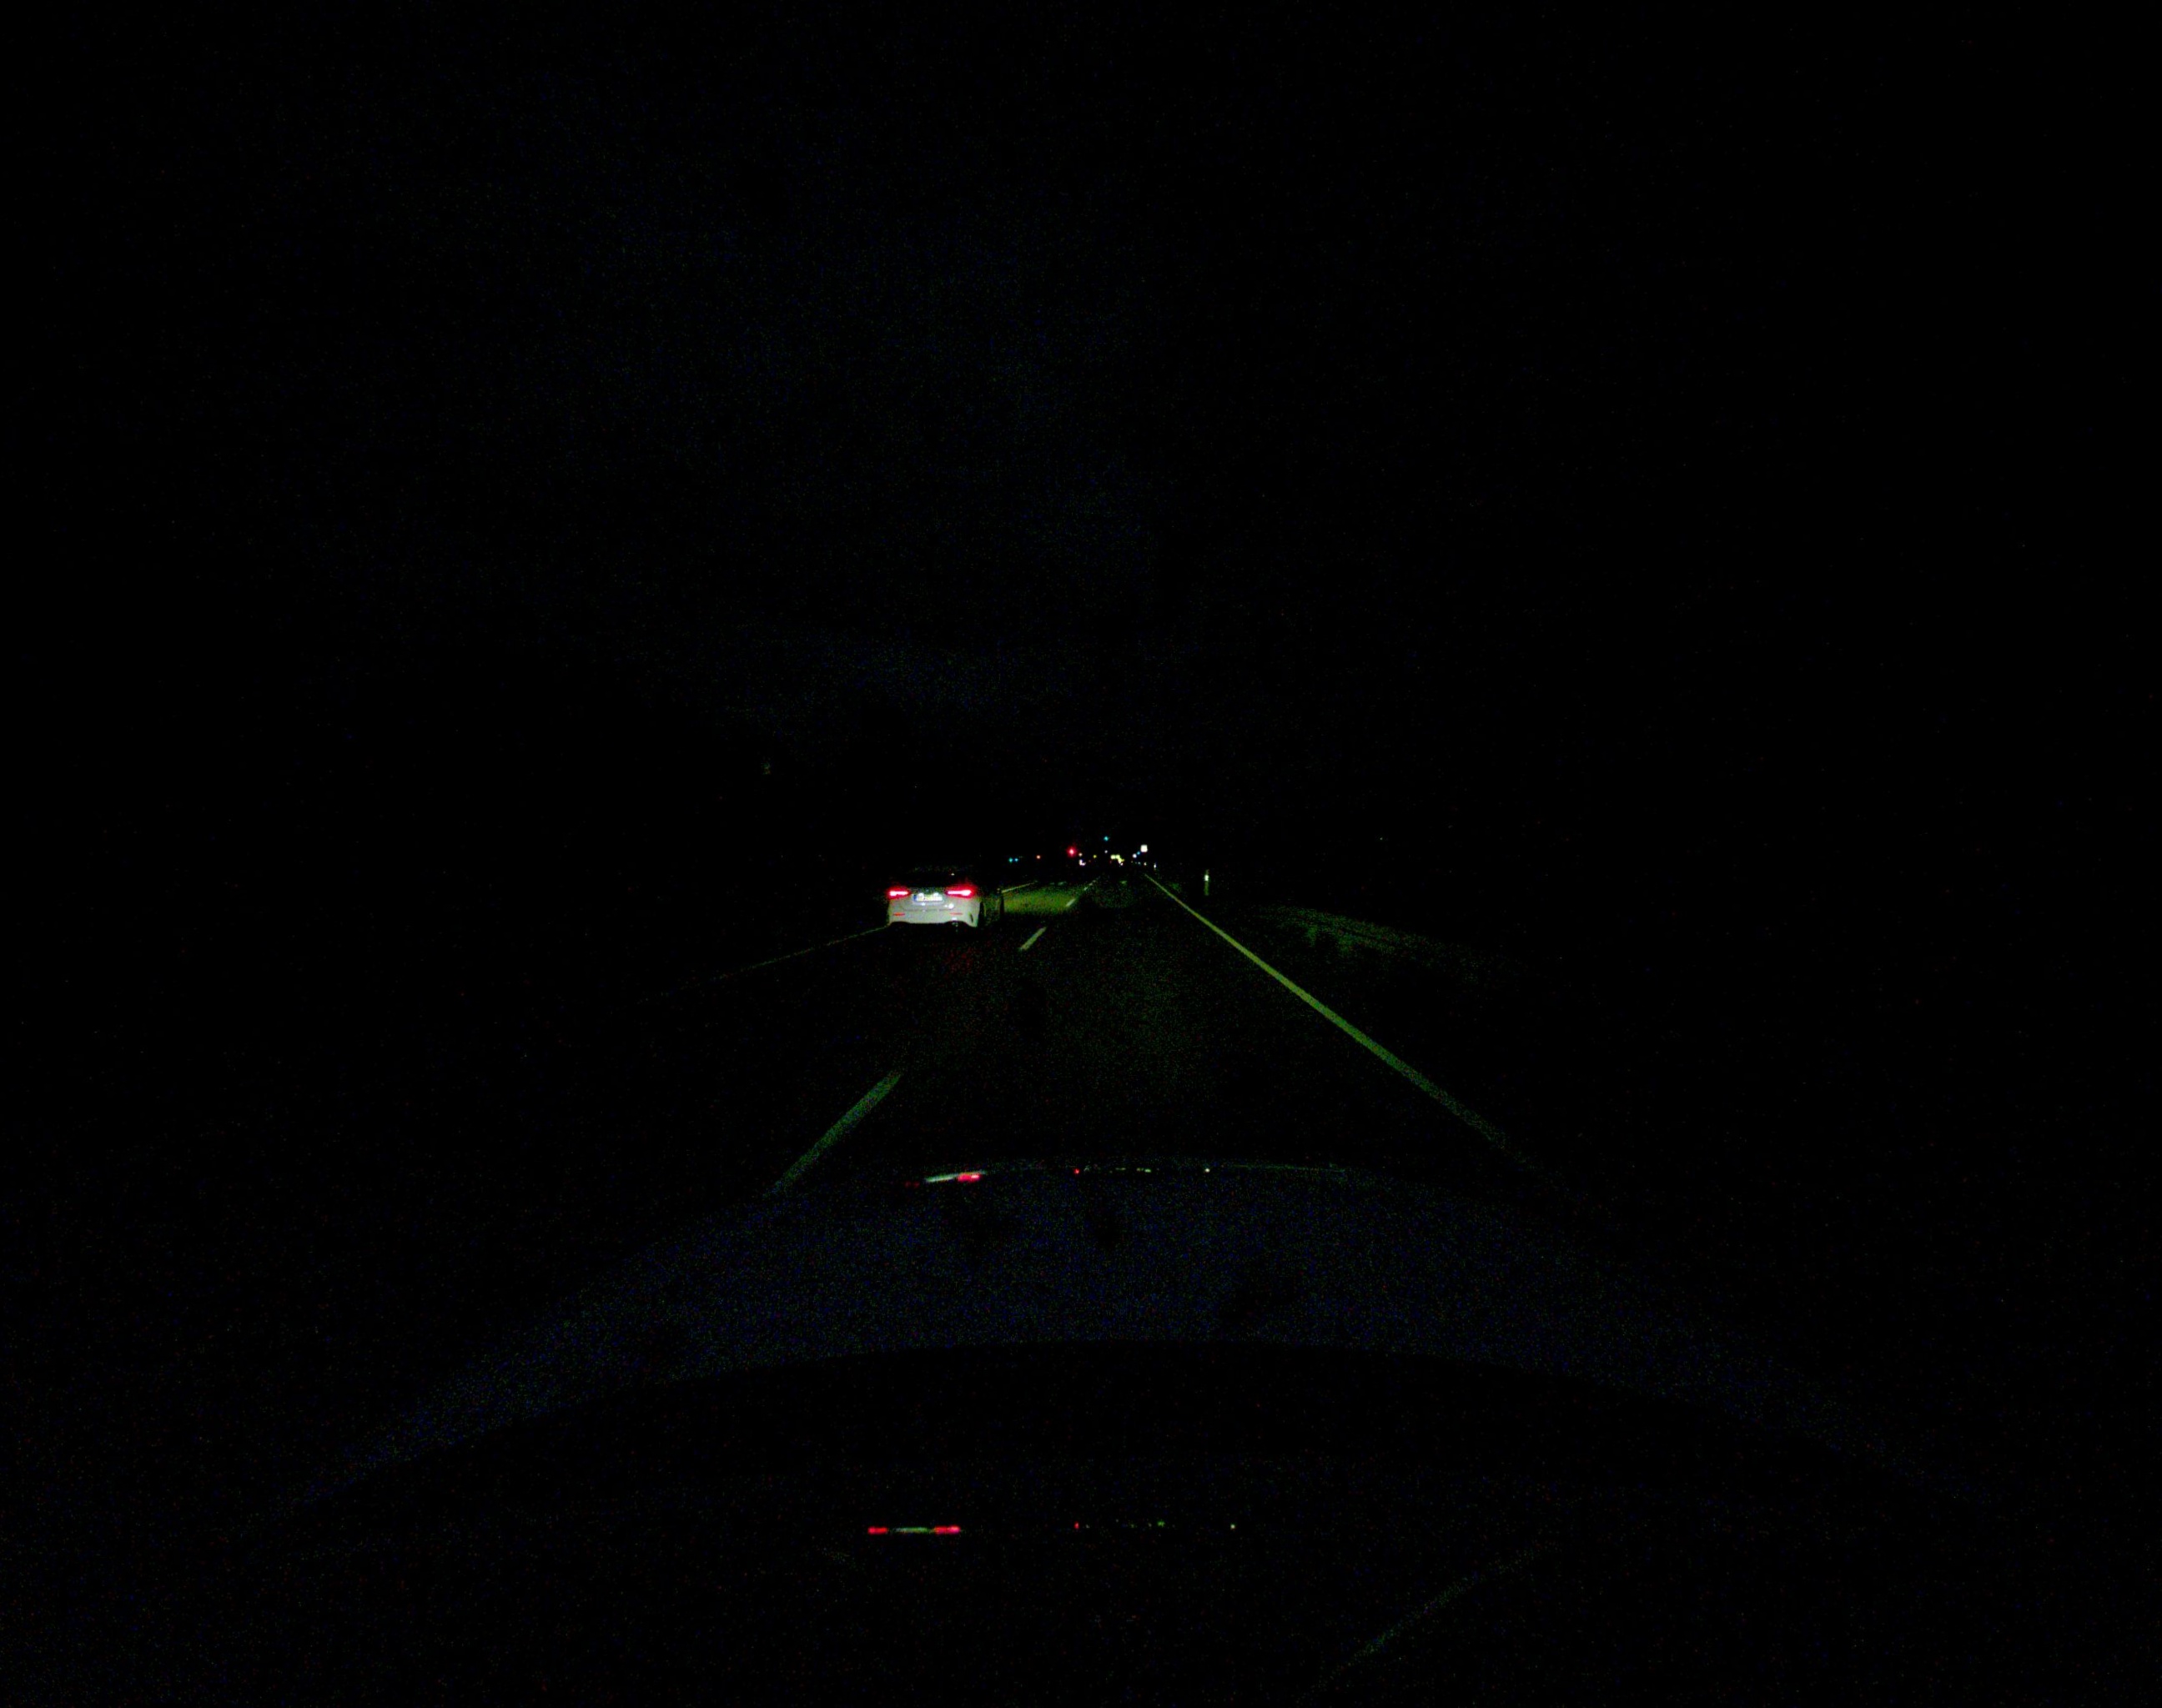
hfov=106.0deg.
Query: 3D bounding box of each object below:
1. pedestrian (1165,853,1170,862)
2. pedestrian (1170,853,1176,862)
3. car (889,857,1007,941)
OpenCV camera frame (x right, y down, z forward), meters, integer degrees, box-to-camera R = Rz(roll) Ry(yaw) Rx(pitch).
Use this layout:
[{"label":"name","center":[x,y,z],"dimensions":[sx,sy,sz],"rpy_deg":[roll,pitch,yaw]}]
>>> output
[{"label":"pedestrian","center":[17.066,0.692,160.463],"dimensions":[0.918,1.793,1.107],"rpy_deg":[-1,0,3]},{"label":"pedestrian","center":[18.212,0.696,160.591],"dimensions":[1.086,1.723,1.261],"rpy_deg":[-1,-1,2]},{"label":"car","center":[-2.607,0.830,17.018],"dimensions":[1.636,1.490,4.580],"rpy_deg":[-1,0,1]}]
